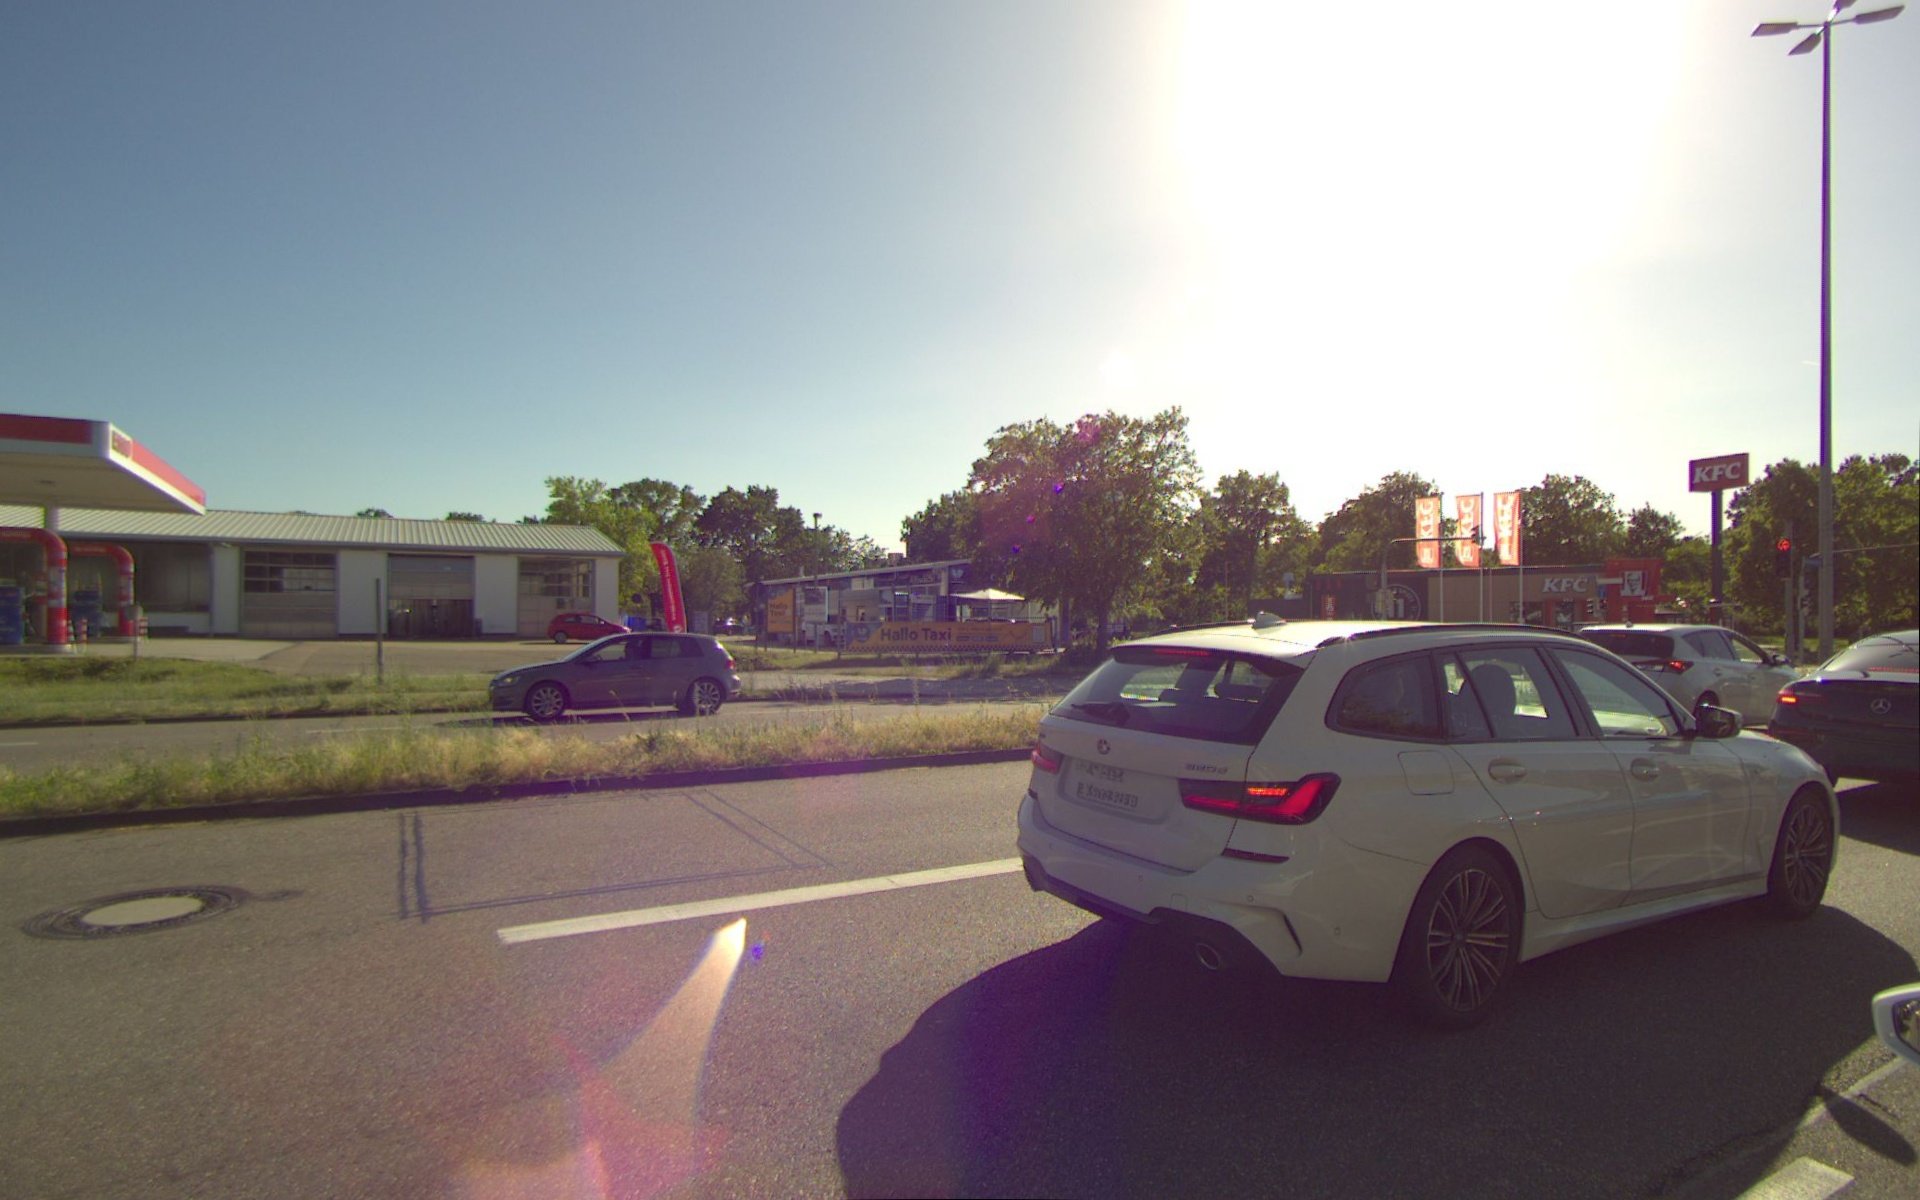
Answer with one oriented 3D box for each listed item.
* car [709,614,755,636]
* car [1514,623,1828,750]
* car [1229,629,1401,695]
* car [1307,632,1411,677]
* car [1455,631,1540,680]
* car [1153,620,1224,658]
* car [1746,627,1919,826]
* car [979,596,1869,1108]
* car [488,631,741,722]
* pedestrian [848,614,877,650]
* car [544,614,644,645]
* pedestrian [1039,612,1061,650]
[{"bbox_3d":[-19.964,2.172,88.258,2.085,1.840,4.000,0,-1,20],"label":"car"},{"bbox_3d":[9.612,1.051,13.509,4.352,1.448,1.848,1,-1,-30],"label":"car"},{"bbox_3d":[8.892,1.474,24.993,4.694,1.448,1.843,1,-1,-39],"label":"car"},{"bbox_3d":[18.048,2.406,45.603,1.972,1.869,4.265,1,-1,-23],"label":"car"},{"bbox_3d":[19.531,1.965,36.697,1.826,1.564,4.737,0,-1,17],"label":"car"},{"bbox_3d":[12.781,2.158,56.402,1.970,2.040,3.980,1,-1,-21],"label":"car"},{"bbox_3d":[8.801,0.969,8.621,4.409,1.433,1.760,1,-1,-30],"label":"car"},{"bbox_3d":[2.423,0.799,4.899,4.409,1.529,1.760,1,-1,-30],"label":"car"},{"bbox_3d":[-6.058,1.284,17.683,4.000,1.448,1.812,1,-3,-28],"label":"car"},{"bbox_3d":[-4.941,1.622,50.803,1.136,1.787,1.100,0,-1,16],"label":"pedestrian"},{"bbox_3d":[-18.026,1.441,49.543,4.486,1.458,1.741,1,-1,-26],"label":"car"},{"bbox_3d":[4.276,1.473,47.867,0.804,1.828,0.951,1,-1,-13],"label":"pedestrian"}]
